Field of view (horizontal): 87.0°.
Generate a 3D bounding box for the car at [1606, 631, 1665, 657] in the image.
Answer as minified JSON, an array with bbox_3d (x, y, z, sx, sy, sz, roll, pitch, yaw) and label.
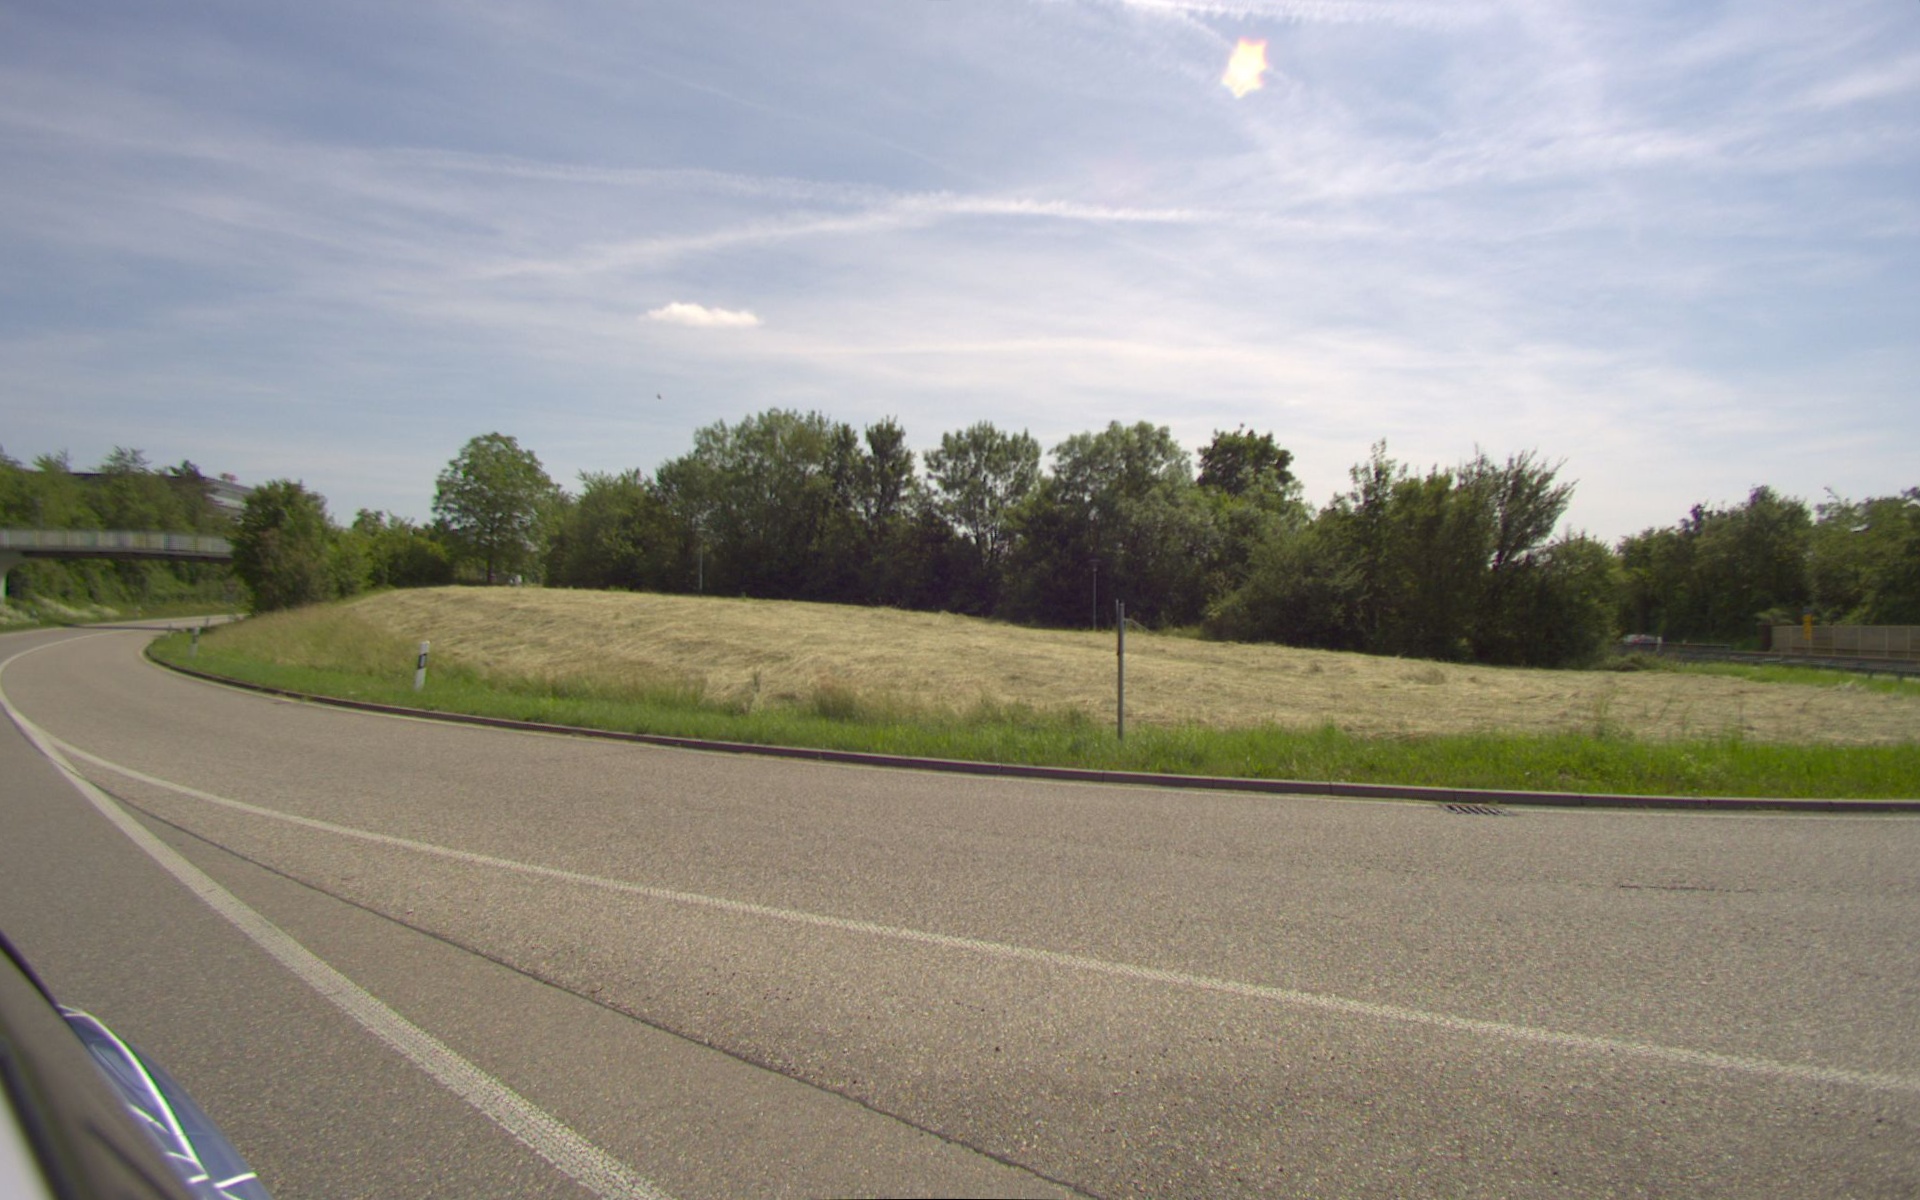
[{"bbox_3d":[42.956,2.759,64.437,1.738,1.550,4.089,-1,-1,13],"label":"car"}]
